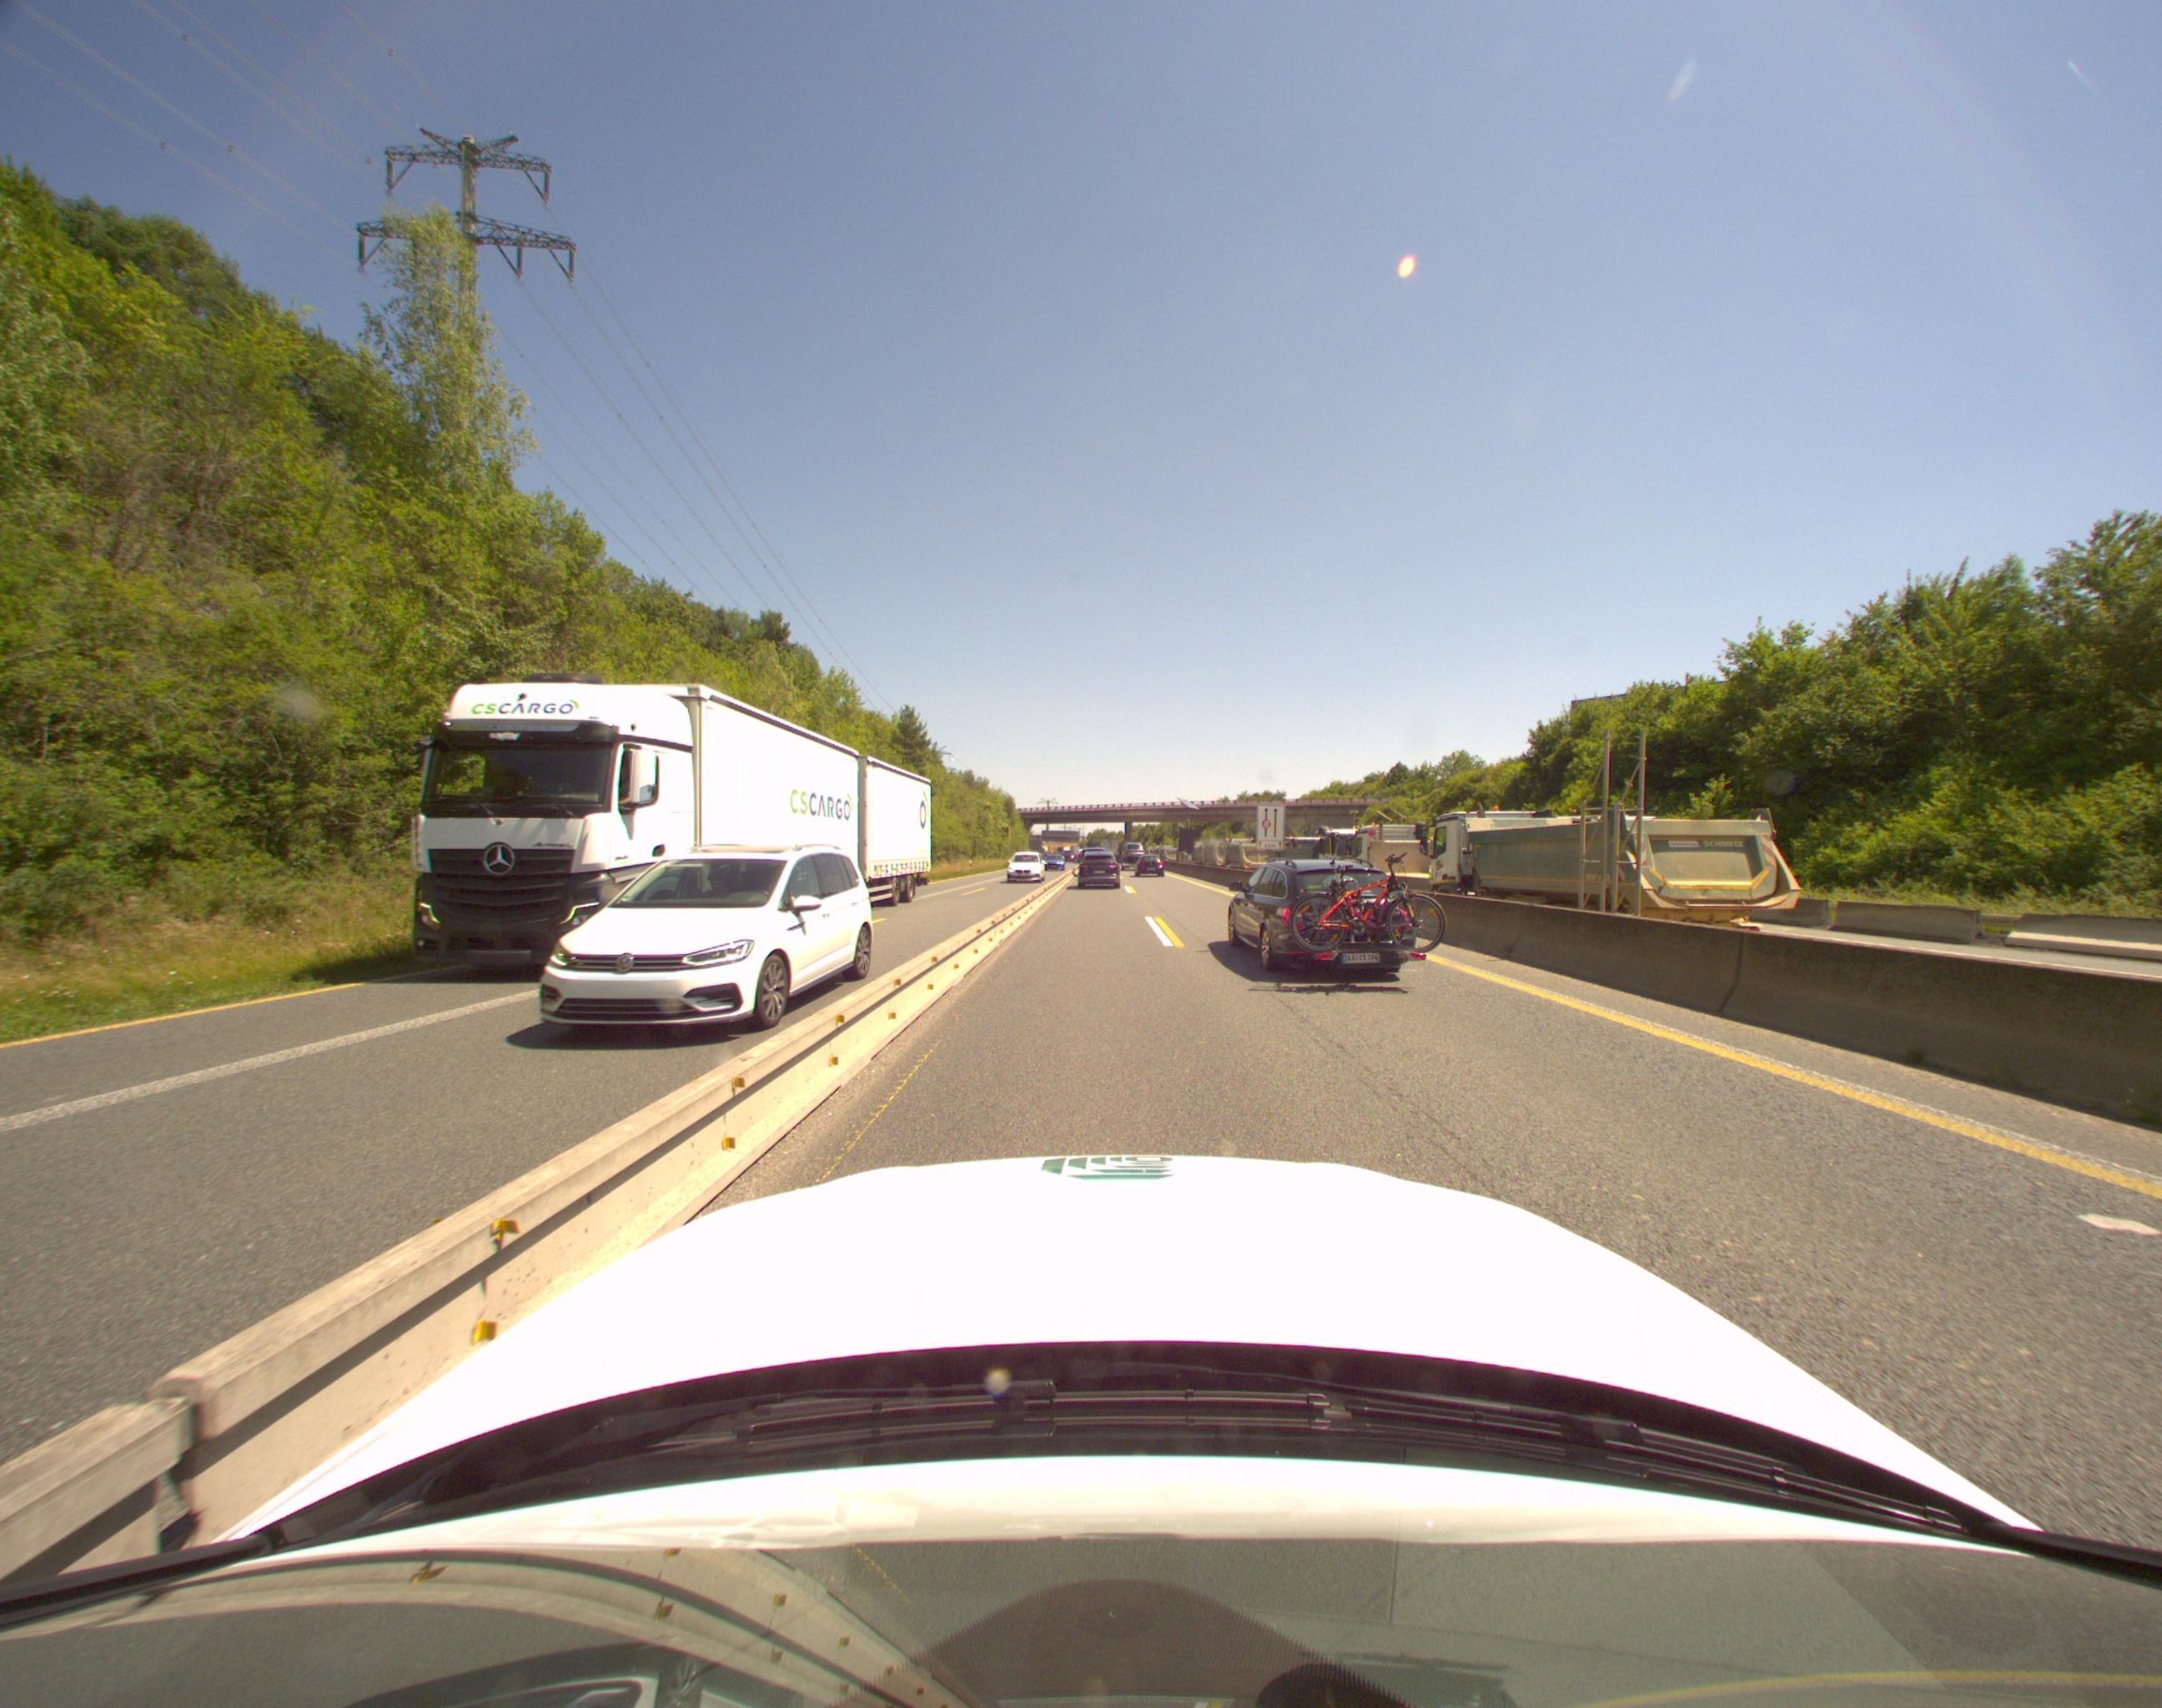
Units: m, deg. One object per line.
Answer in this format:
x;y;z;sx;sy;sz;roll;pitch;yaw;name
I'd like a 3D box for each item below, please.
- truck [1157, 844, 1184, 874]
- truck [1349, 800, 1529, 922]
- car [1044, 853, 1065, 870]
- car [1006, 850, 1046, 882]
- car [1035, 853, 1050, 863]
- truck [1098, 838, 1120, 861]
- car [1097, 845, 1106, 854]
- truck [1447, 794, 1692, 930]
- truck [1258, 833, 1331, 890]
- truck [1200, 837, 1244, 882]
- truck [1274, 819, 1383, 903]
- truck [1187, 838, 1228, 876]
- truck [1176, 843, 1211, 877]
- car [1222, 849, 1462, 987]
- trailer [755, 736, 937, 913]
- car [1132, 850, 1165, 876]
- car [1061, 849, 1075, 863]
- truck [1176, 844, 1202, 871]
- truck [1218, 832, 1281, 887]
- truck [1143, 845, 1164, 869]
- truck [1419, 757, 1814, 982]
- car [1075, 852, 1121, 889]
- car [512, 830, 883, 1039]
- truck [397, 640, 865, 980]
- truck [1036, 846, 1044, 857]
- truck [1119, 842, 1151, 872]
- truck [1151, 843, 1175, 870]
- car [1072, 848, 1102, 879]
11.894;0.624;109.185;2.678;3.761;9.325;0;0;0;truck
11.777;0.202;27.939;2.523;3.511;8.948;0;0;2;truck
-2.332;0.667;71.717;1.707;1.425;4.170;0;0;0;car
-2.883;0.615;43.507;1.756;1.632;4.297;0;0;1;car
-5.635;0.572;118.837;1.786;1.525;4.532;0;0;2;car
4.834;-0.833;142.563;3.283;3.845;10.105;0;0;-1;truck
4.557;-0.964;177.620;1.892;1.968;4.278;0;0;2;car
14.463;0.194;25.147;2.678;3.511;8.381;0;0;1;truck
14.458;0.467;55.947;2.678;3.557;9.604;0;0;1;truck
12.002;0.442;70.171;2.676;3.557;9.414;0;0;3;truck
11.732;0.294;39.668;2.529;3.557;9.604;0;0;1;truck
12.544;0.259;81.598;2.678;3.557;9.324;0;0;0;truck
12.380;0.610;90.405;2.678;3.557;9.324;0;0;0;truck
3.250;0.703;11.276;1.892;1.490;4.949;0;0;2;car
-6.540;-0.740;24.271;2.628;4.312;8.451;1;0;2;trailer
4.350;0.582;52.810;1.892;1.585;4.278;0;0;2;car
-1.871;0.331;122.576;1.884;2.013;4.819;0;0;2;car
15.500;0.500;117.506;2.678;3.726;9.324;0;0;0;truck
11.774;0.354;57.818;2.677;3.557;9.604;0;0;1;truck
11.882;0.473;133.313;2.678;3.843;9.325;0;0;0;truck
10.229;0.230;17.230;2.524;3.511;9.098;0;0;1;truck
0.775;0.692;36.049;1.892;1.505;4.278;0;0;2;car
-3.505;0.641;8.450;1.818;1.630;4.151;0;0;1;car
-6.695;-0.537;14.810;2.400;3.992;10.357;1;0;2;truck
-13.085;-0.821;258.877;2.503;3.186;10.095;0;0;-4;truck
4.723;0.210;72.588;2.398;2.558;7.499;0;0;0;truck
12.024;0.395;120.630;2.678;3.856;9.325;0;0;0;truck
0.465;0.624;54.645;1.892;1.968;4.278;0;0;2;car
